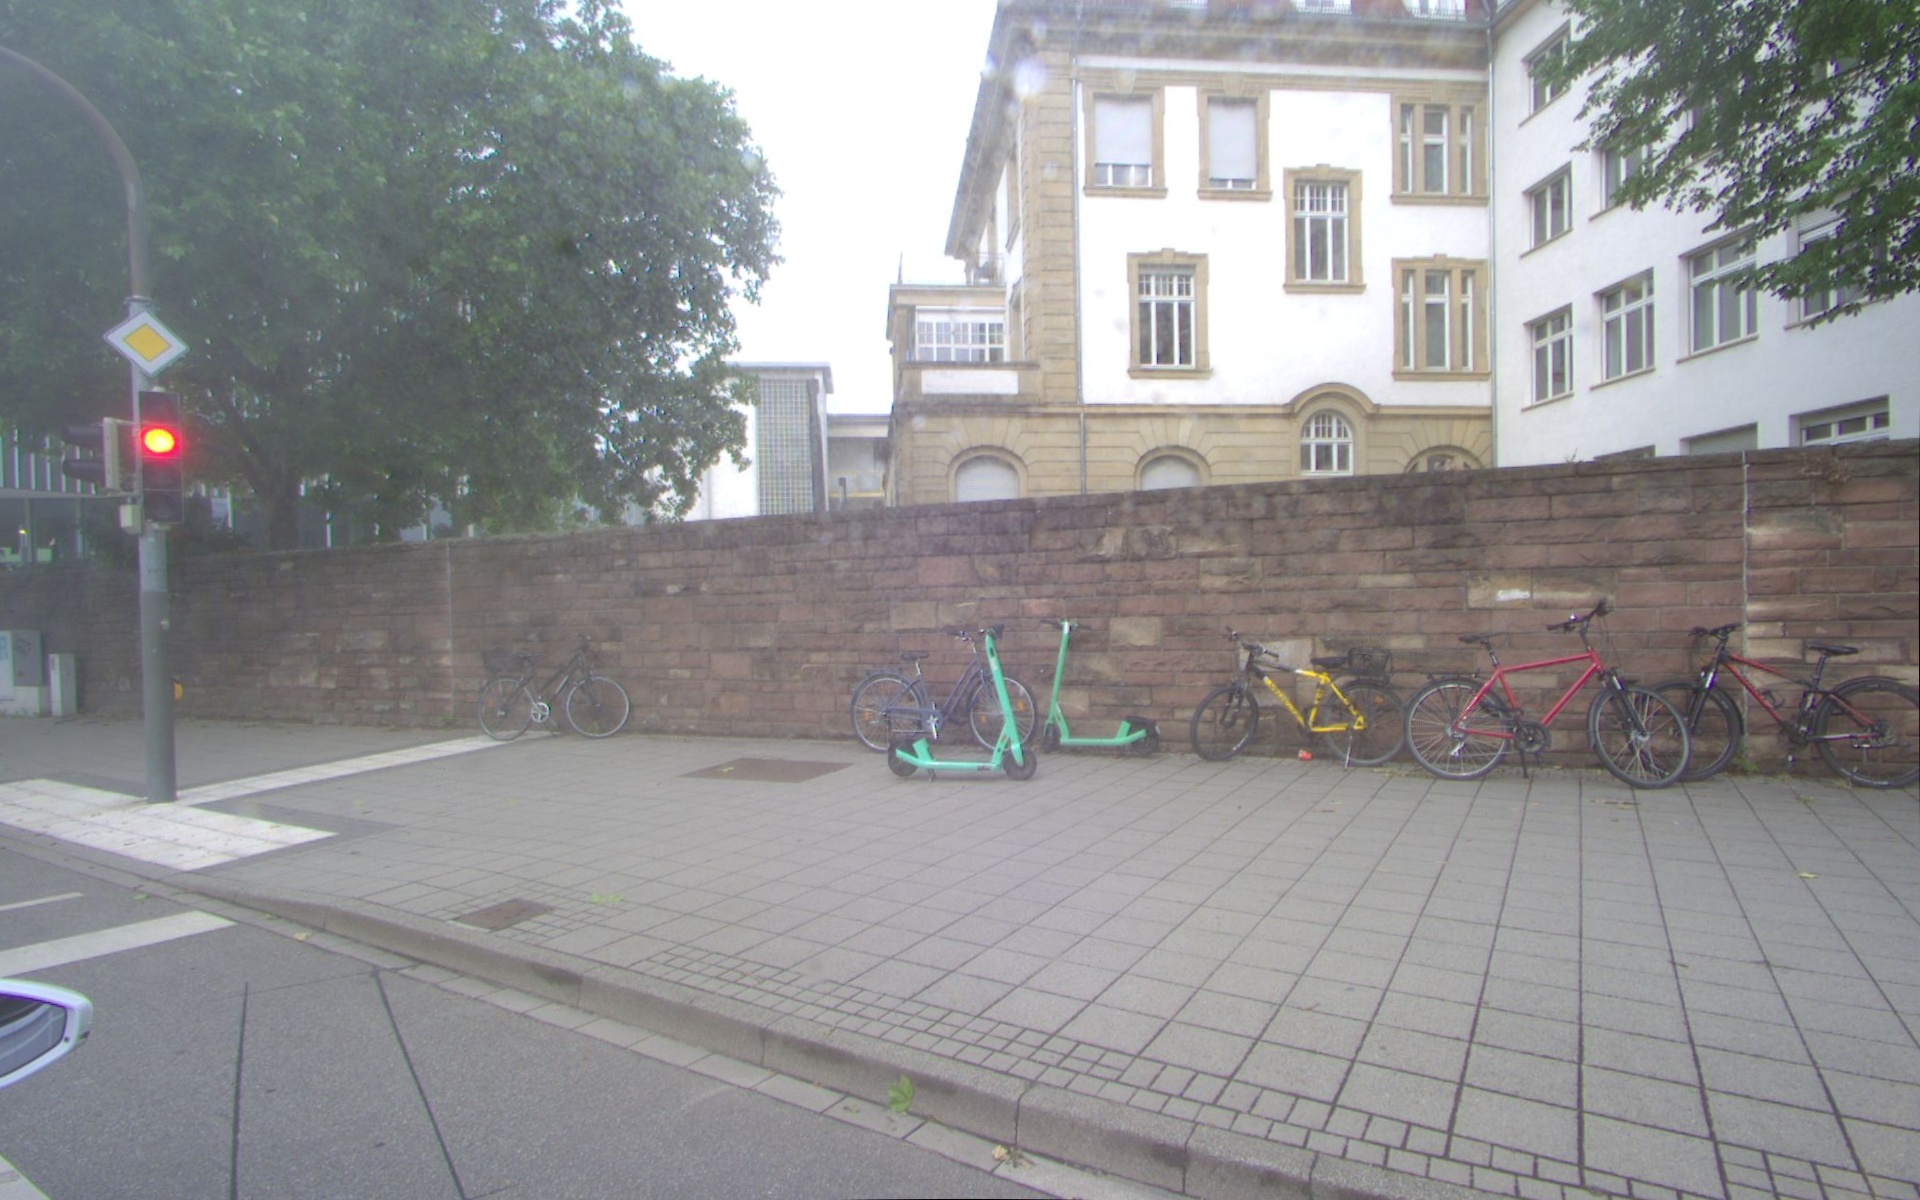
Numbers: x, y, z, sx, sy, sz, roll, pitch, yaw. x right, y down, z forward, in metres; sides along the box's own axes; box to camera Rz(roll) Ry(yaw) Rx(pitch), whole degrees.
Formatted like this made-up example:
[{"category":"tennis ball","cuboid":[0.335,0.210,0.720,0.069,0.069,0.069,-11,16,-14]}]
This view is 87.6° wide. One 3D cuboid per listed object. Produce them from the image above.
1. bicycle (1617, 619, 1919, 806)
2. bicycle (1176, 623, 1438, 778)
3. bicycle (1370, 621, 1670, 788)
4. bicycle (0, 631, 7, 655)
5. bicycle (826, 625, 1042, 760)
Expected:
[{"category":"bicycle","cuboid":[5.451,0.711,6.538,1.907,1.158,0.339,-1,-1,17]},{"category":"bicycle","cuboid":[2.680,0.766,7.883,1.905,1.158,0.386,-1,-1,12]},{"category":"bicycle","cuboid":[3.982,0.737,7.183,1.904,1.158,0.386,0,-1,1]},{"category":"bicycle","cuboid":[-41.466,1.860,42.056,0.766,1.019,2.192,-2,0,-1]},{"category":"bicycle","cuboid":[-0.236,0.813,9.000,1.905,1.158,0.386,-1,-1,12]}]
